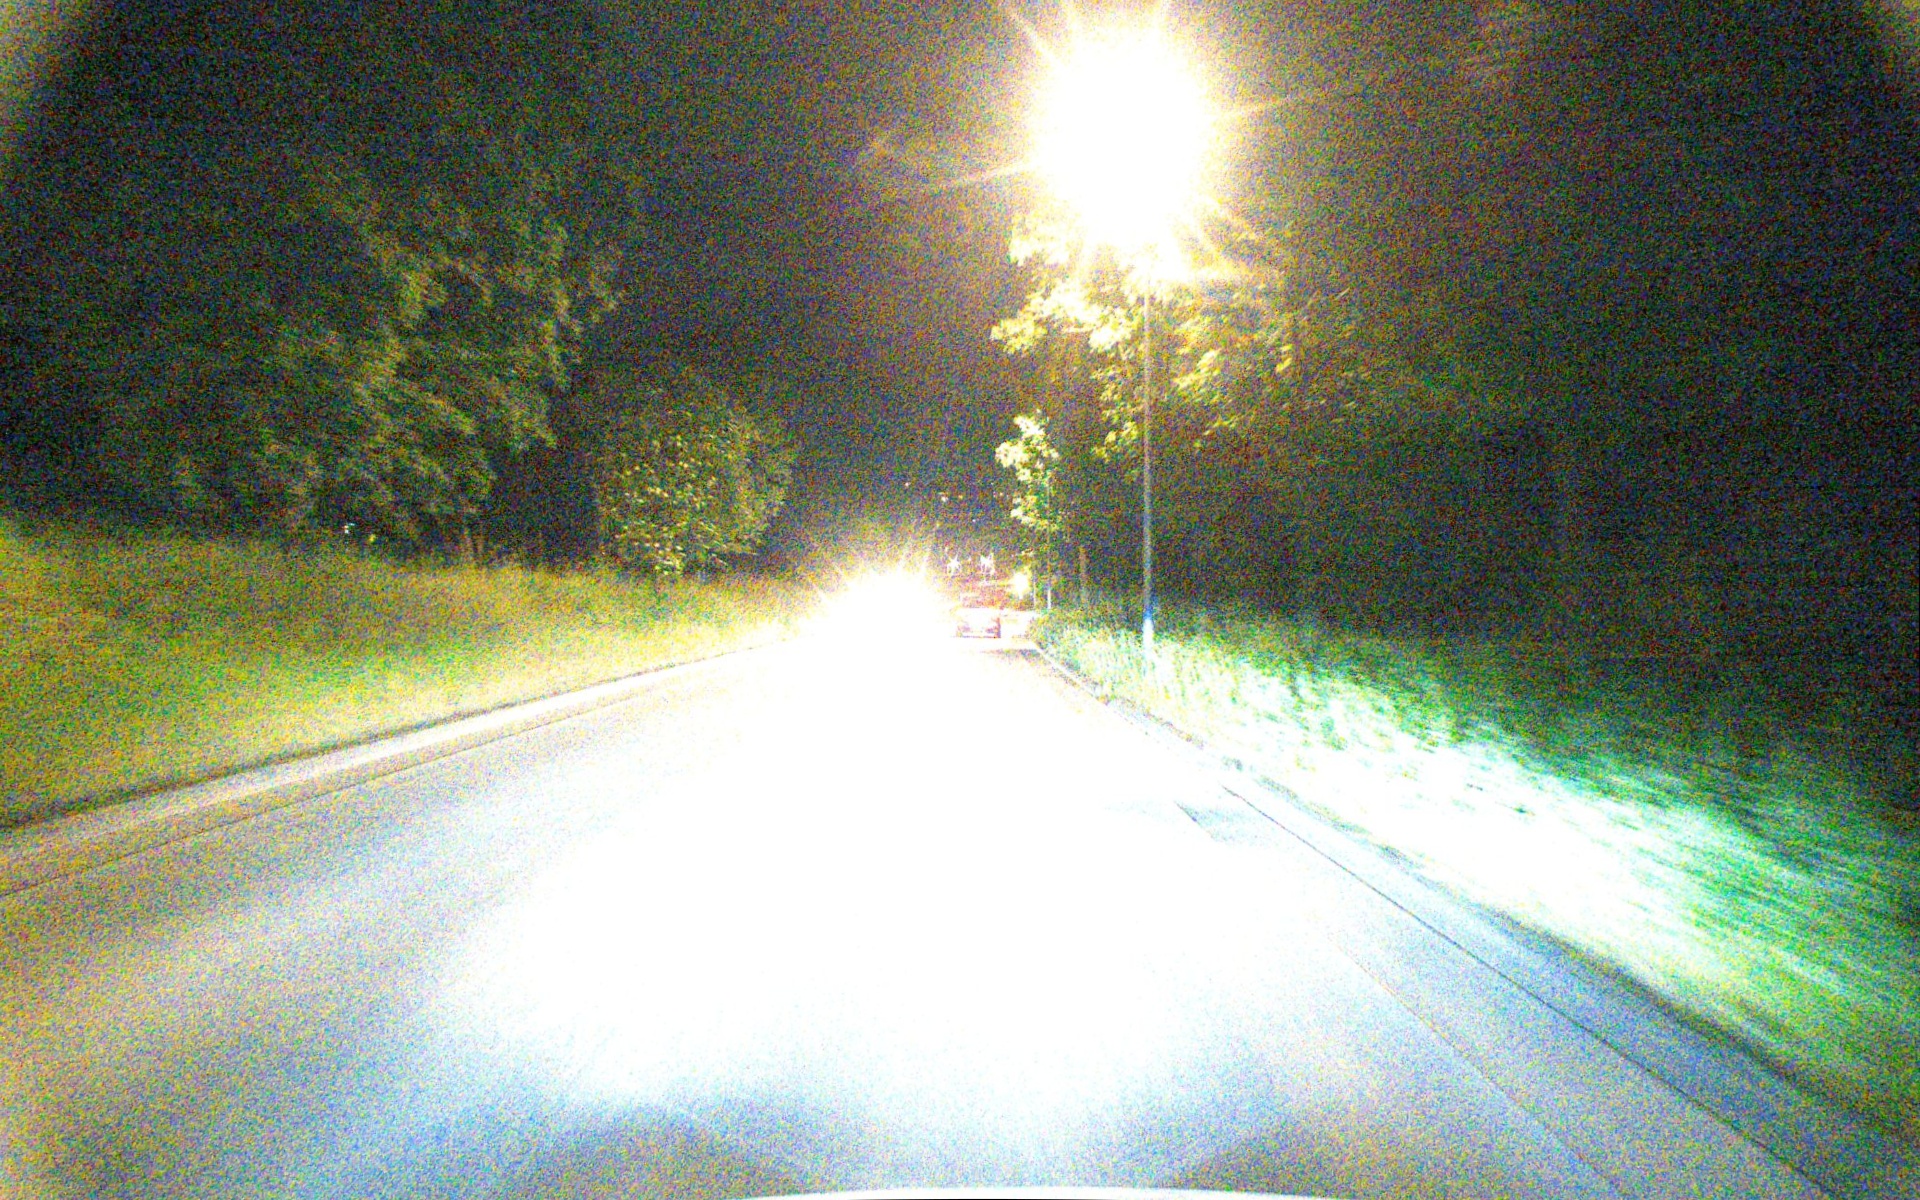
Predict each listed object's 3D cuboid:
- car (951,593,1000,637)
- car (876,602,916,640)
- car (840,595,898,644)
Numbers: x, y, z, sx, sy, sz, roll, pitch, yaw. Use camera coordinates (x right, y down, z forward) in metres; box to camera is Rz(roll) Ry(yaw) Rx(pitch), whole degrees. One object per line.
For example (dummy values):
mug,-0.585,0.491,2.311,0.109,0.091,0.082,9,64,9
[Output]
car,0.588,0.578,65.094,1.728,1.670,3.721,1,0,-3
car,-2.660,0.841,69.172,1.614,1.517,3.556,1,0,-1
car,-2.863,0.599,52.878,1.653,1.483,3.999,1,0,-1
